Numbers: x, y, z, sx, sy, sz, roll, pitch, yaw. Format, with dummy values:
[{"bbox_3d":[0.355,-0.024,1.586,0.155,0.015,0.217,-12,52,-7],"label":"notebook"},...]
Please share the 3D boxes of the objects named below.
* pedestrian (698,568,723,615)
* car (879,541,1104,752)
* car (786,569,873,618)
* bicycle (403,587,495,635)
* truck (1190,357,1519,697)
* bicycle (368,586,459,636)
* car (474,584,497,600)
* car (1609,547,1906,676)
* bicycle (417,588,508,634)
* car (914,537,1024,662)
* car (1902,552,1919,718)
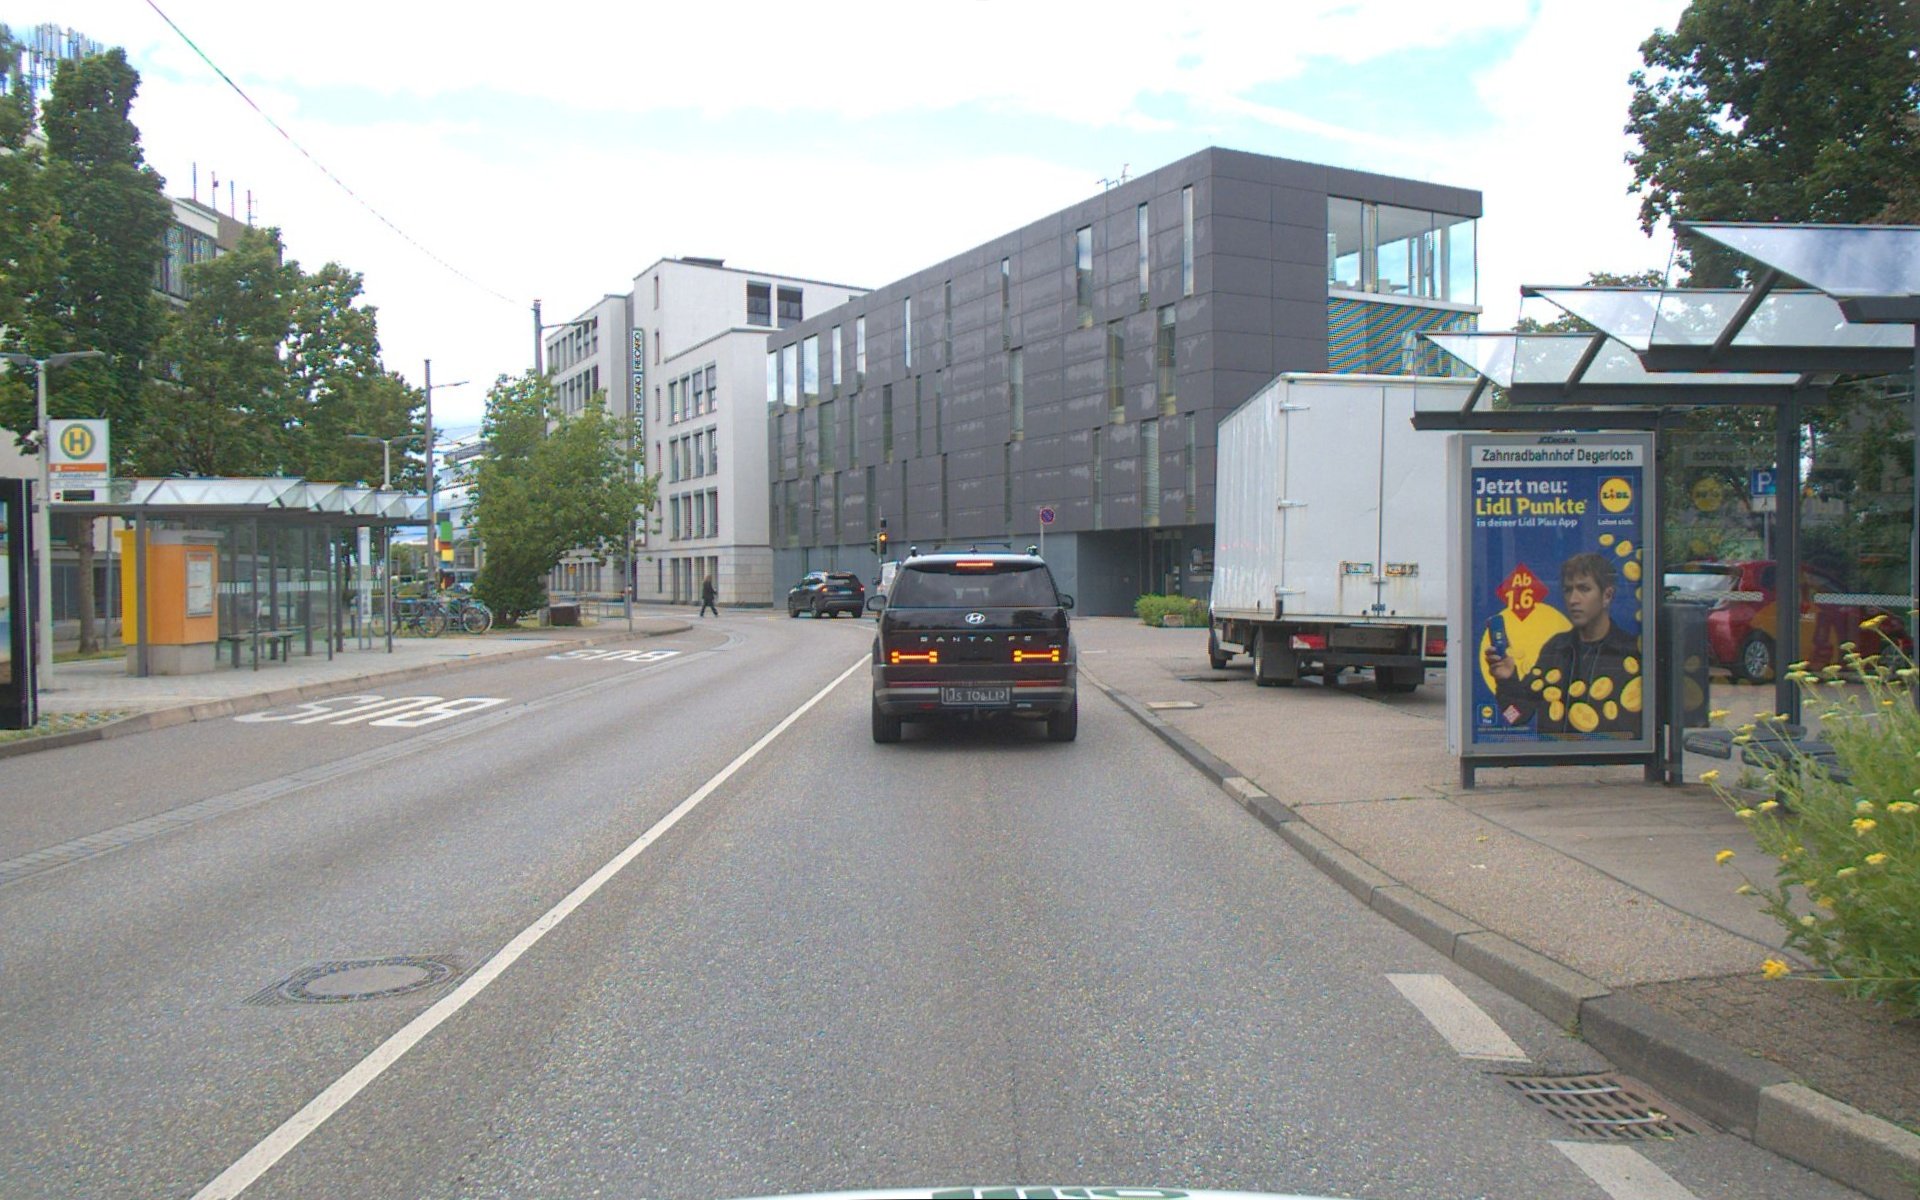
[{"bbox_3d":[-9.902,-0.341,65.718,0.922,1.832,0.589,-1,1,-12],"label":"pedestrian"},{"bbox_3d":[0.168,0.362,16.010,1.877,1.755,4.168,1,1,-3],"label":"car"},{"bbox_3d":[-4.869,-0.231,61.078,1.824,1.706,4.342,-2,1,-24],"label":"car"},{"bbox_3d":[-12.462,0.263,40.365,2.055,1.125,0.631,0,1,1],"label":"bicycle"},{"bbox_3d":[4.760,-0.844,21.588,2.520,3.586,7.812,-1,1,1],"label":"truck"},{"bbox_3d":[-12.598,0.257,38.138,1.889,1.125,0.587,0,1,1],"label":"bicycle"},{"bbox_3d":[-44.115,-0.757,153.683,1.870,1.512,3.980,-1,1,-18],"label":"car"},{"bbox_3d":[9.913,0.138,20.545,3.453,1.480,1.665,1,0,-29],"label":"car"},{"bbox_3d":[-12.353,0.265,41.088,2.055,1.125,0.631,0,1,1],"label":"bicycle"},{"bbox_3d":[0.180,-0.060,29.935,1.817,2.069,4.438,-1,1,1],"label":"car"},{"bbox_3d":[10.645,0.349,15.291,3.752,1.499,1.779,1,0,-31],"label":"car"}]
